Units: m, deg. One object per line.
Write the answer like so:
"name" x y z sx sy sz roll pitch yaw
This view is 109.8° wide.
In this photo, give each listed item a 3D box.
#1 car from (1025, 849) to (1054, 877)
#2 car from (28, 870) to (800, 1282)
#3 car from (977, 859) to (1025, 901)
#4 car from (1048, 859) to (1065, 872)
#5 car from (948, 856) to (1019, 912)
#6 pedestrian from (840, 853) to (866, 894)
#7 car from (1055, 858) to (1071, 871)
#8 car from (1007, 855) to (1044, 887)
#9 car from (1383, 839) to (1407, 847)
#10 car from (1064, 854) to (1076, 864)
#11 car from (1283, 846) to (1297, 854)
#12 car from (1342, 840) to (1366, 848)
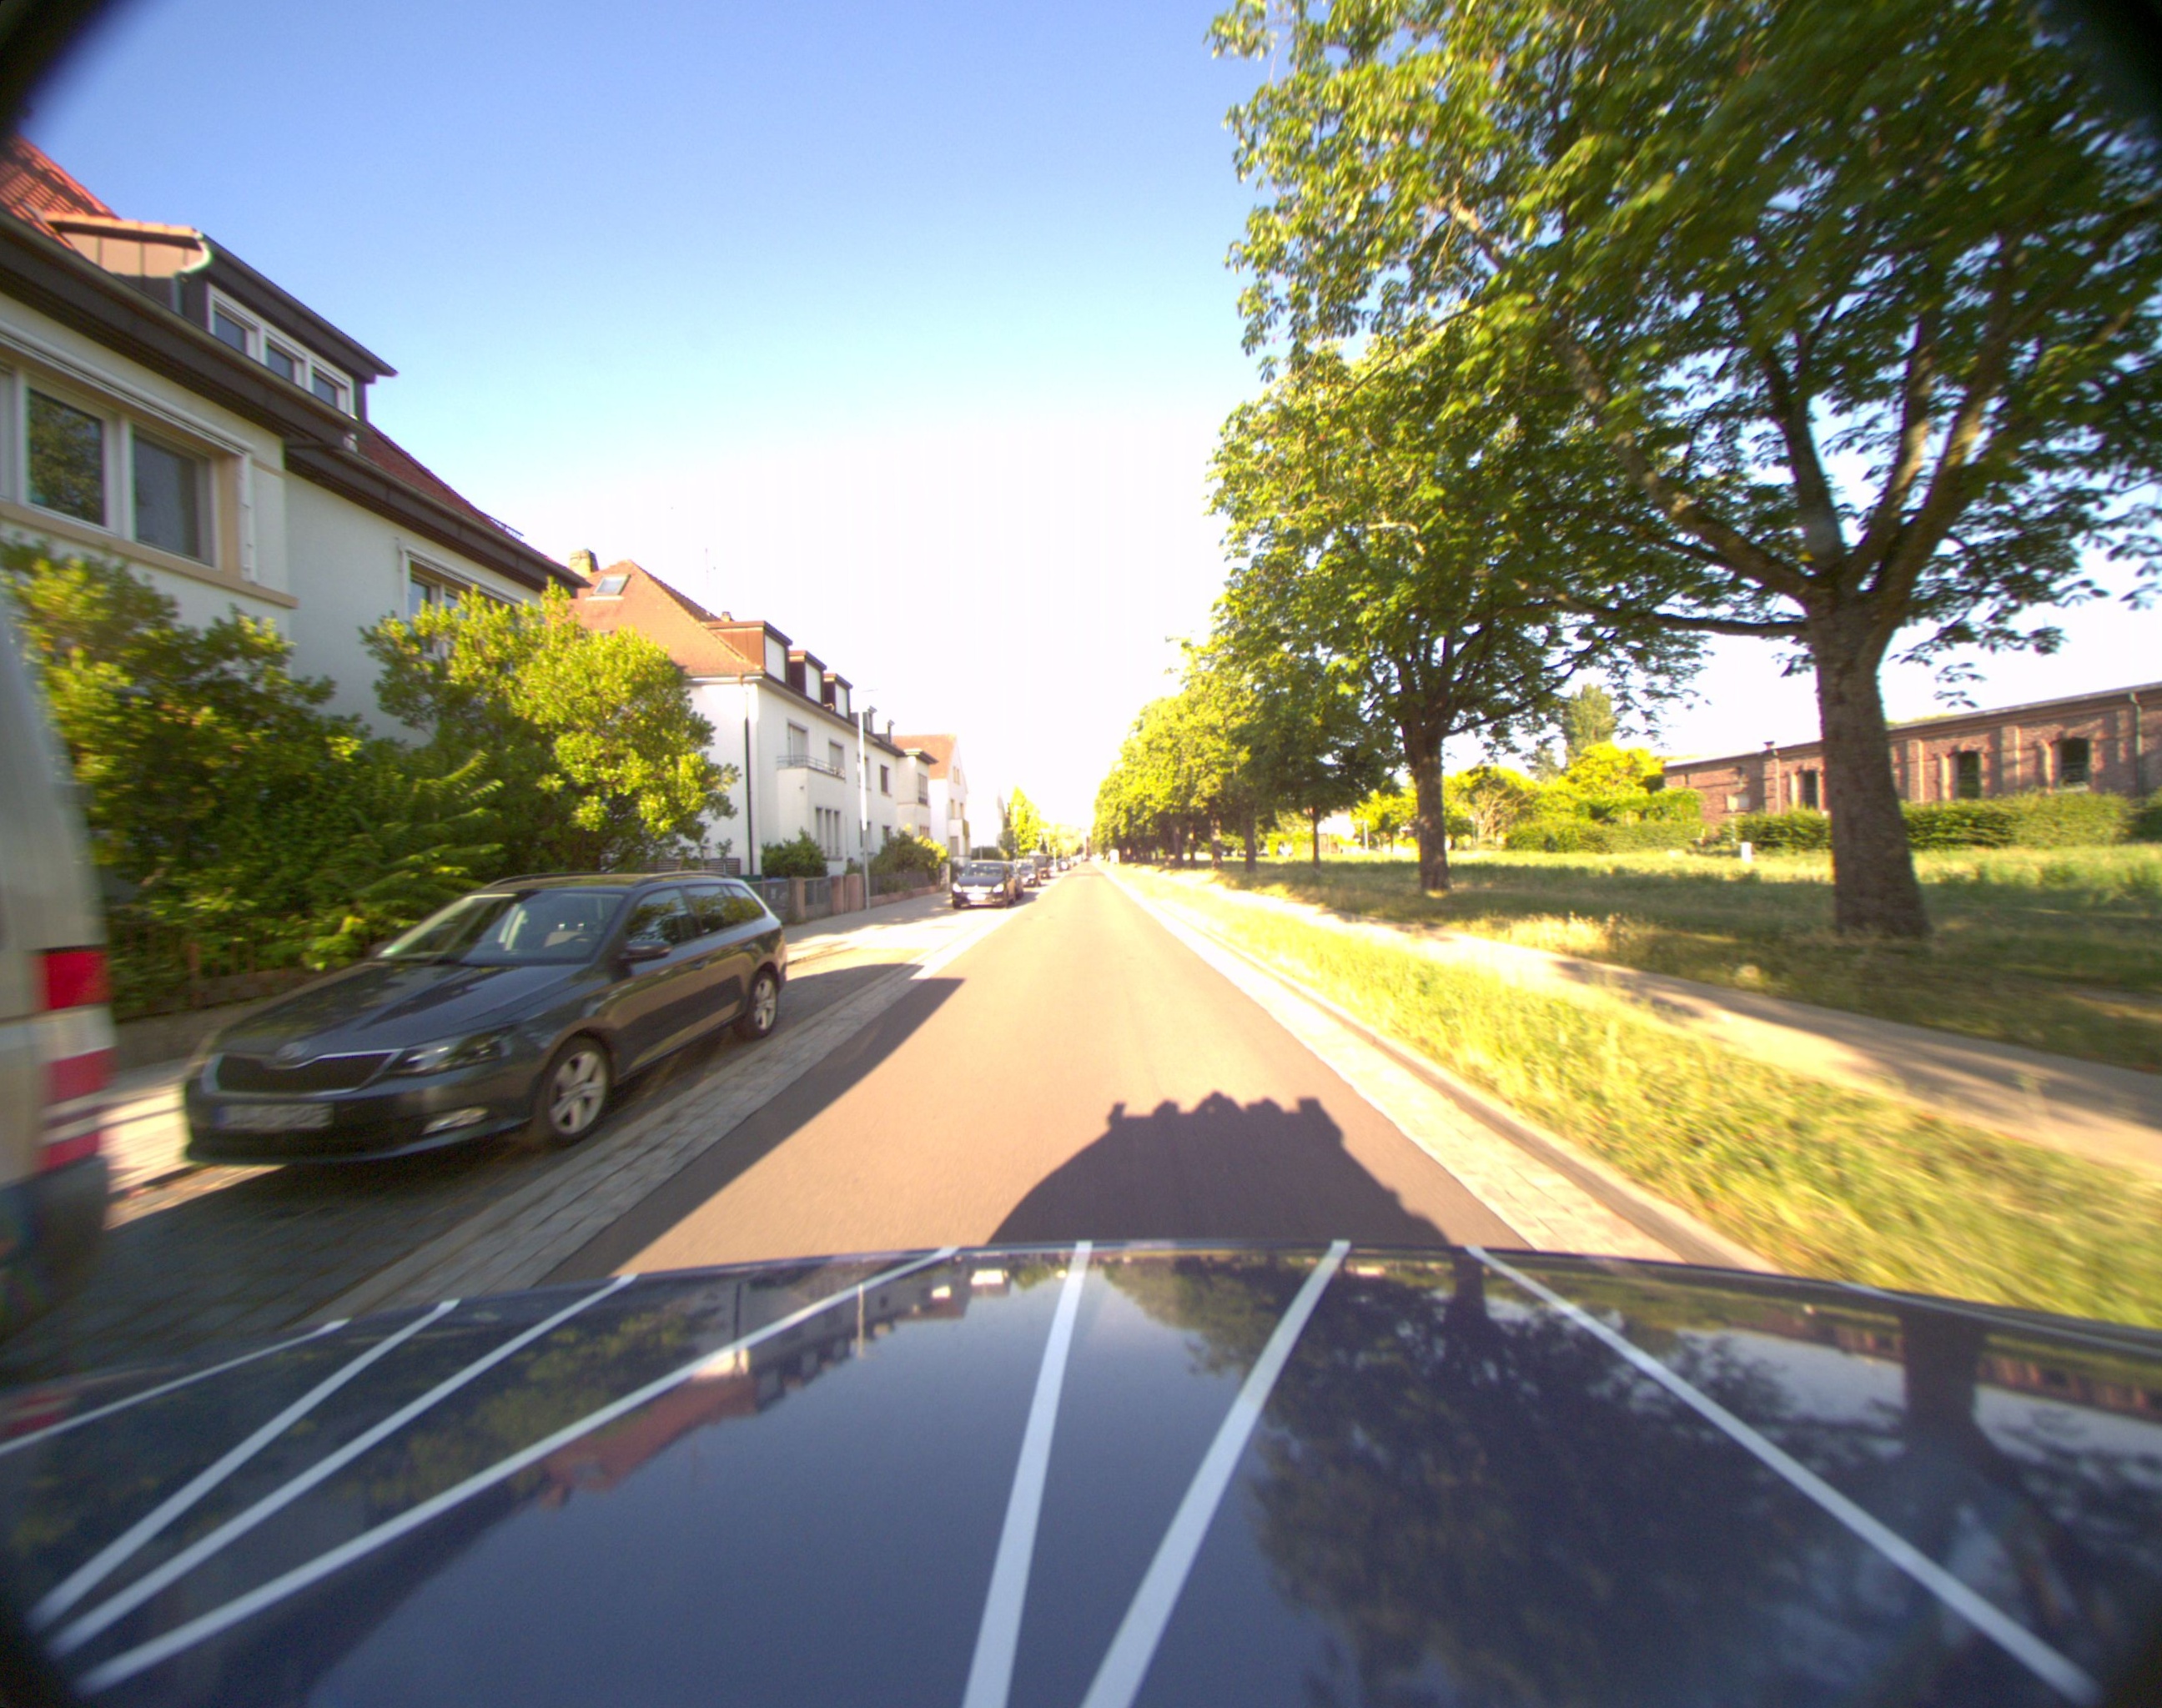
"car" -3.283 0.717 60.484 1.910 2.119 4.814 0 0 2
"car" -3.630 1.007 5.320 1.668 1.583 4.085 -3 0 1
"car" -3.257 1.035 31.649 1.722 1.565 4.208 0 0 -3
"car" -2.849 1.361 90.372 1.798 1.473 4.124 0 -1 1
"car" -3.276 0.970 26.417 1.837 1.675 4.414 1 1 0
"pedestrian" -8.883 0.760 29.635 0.595 1.569 0.631 -3 1 27
"car" -2.456 1.413 104.356 1.910 1.698 4.576 0 0 2
"car" -3.123 0.915 43.591 1.798 1.761 4.472 0 0 0
"car" 56.964 -2.052 137.769 3.636 1.273 1.586 -3 1 2
"car" -1.977 0.938 138.970 1.910 1.698 4.576 0 0 2
"car" 43.650 -0.763 158.396 1.766 1.619 4.000 -3 0 0
"car" 49.223 -1.764 137.045 3.636 1.273 1.586 -3 1 2
